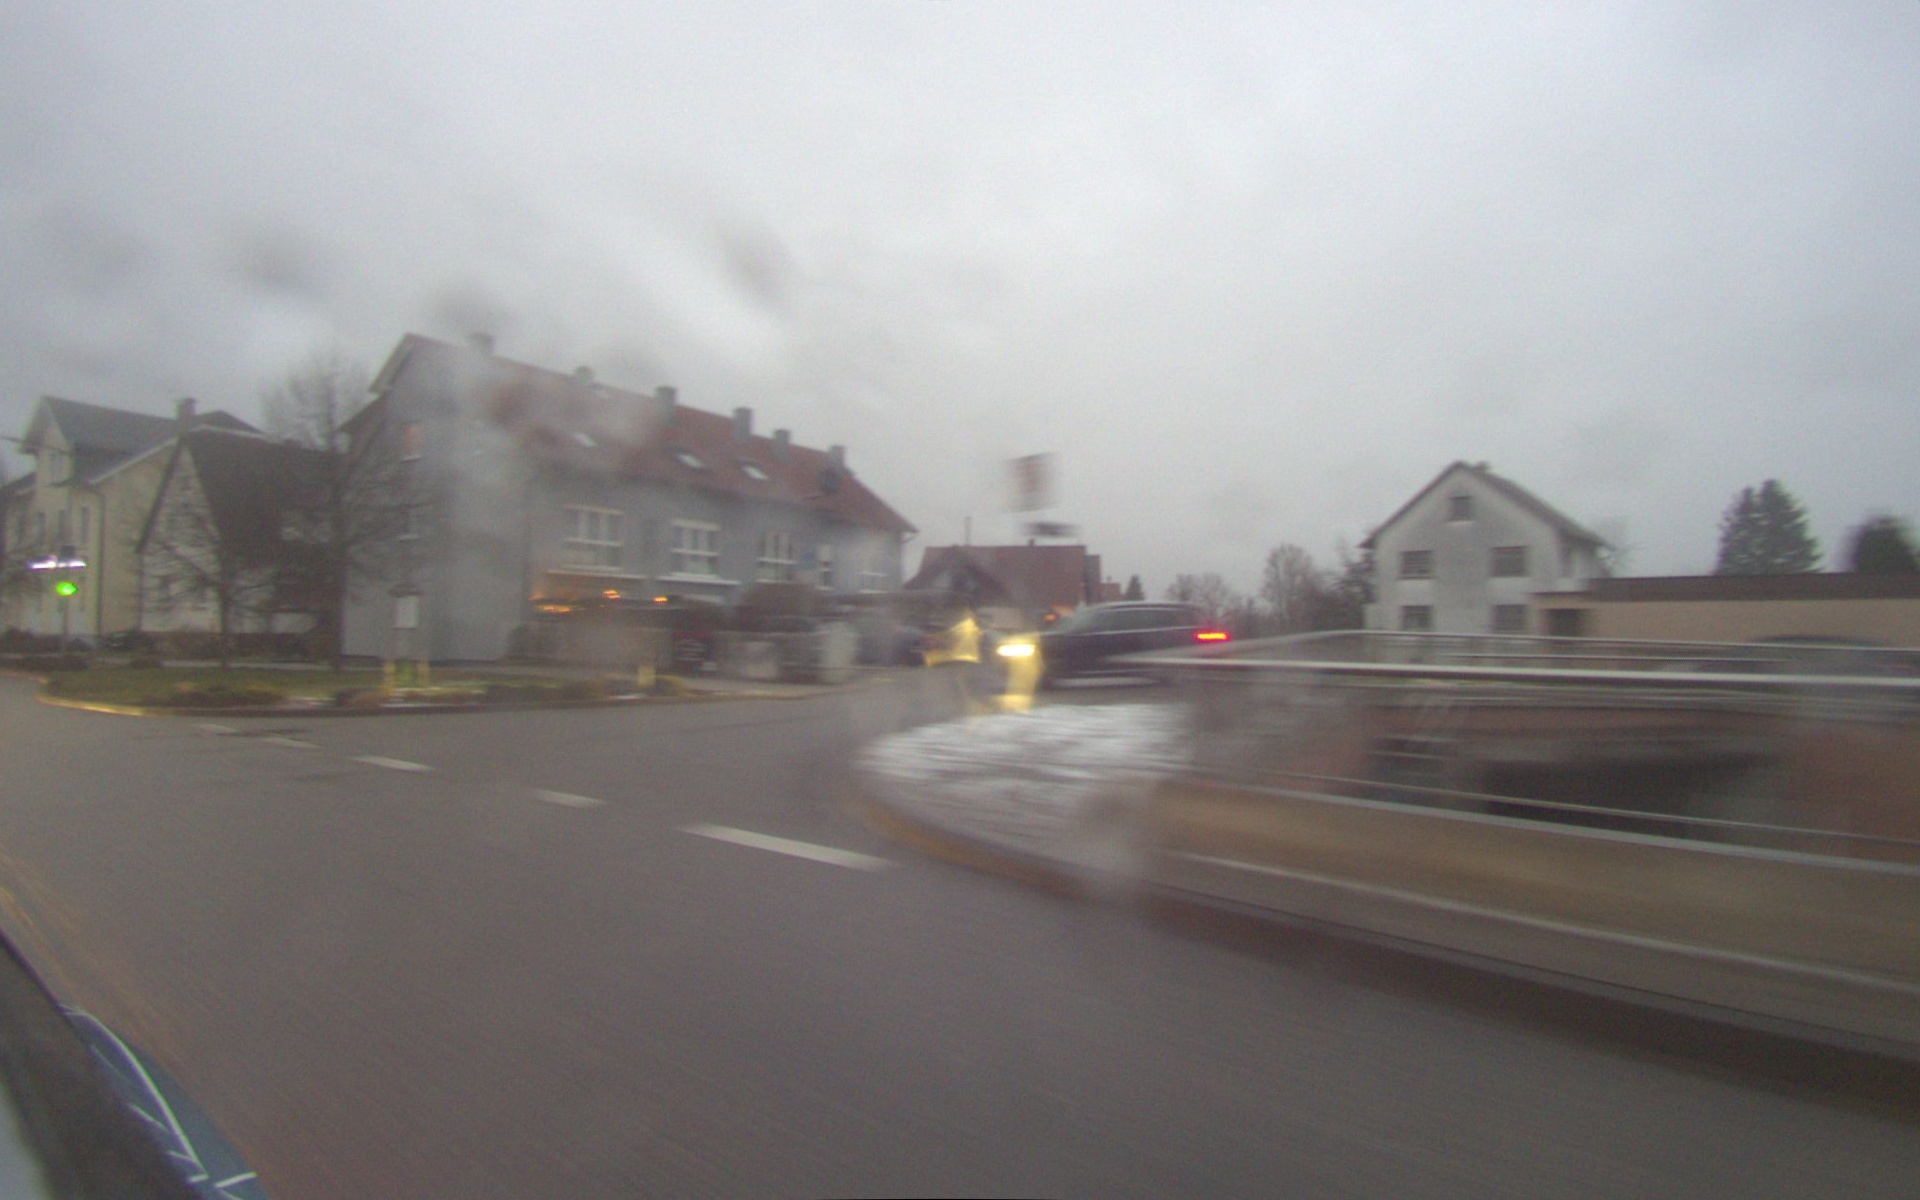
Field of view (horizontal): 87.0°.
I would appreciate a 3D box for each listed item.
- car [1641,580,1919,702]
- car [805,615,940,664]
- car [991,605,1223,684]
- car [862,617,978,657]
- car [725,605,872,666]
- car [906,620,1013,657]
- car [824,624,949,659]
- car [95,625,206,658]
[{"bbox_3d":[15.300,0.740,18.837,1.895,2.029,4.004,1,-2,-43],"label":"car"},{"bbox_3d":[-2.811,1.248,32.477,3.985,1.479,1.878,-1,-1,31],"label":"car"},{"bbox_3d":[2.837,0.844,19.910,4.267,1.449,1.395,0,-2,-8],"label":"car"},{"bbox_3d":[-1.489,1.390,38.223,3.971,1.479,1.885,-1,-1,21],"label":"car"},{"bbox_3d":[-4.737,1.018,29.530,3.990,1.663,1.977,-2,-2,35],"label":"car"},{"bbox_3d":[0.012,1.538,40.647,3.961,1.413,1.991,-1,-2,14],"label":"car"},{"bbox_3d":[-2.582,1.455,35.655,3.975,1.176,1.984,-1,-2,24],"label":"car"},{"bbox_3d":[-41.054,2.102,51.438,1.914,1.612,3.960,-1,-3,29],"label":"car"}]
